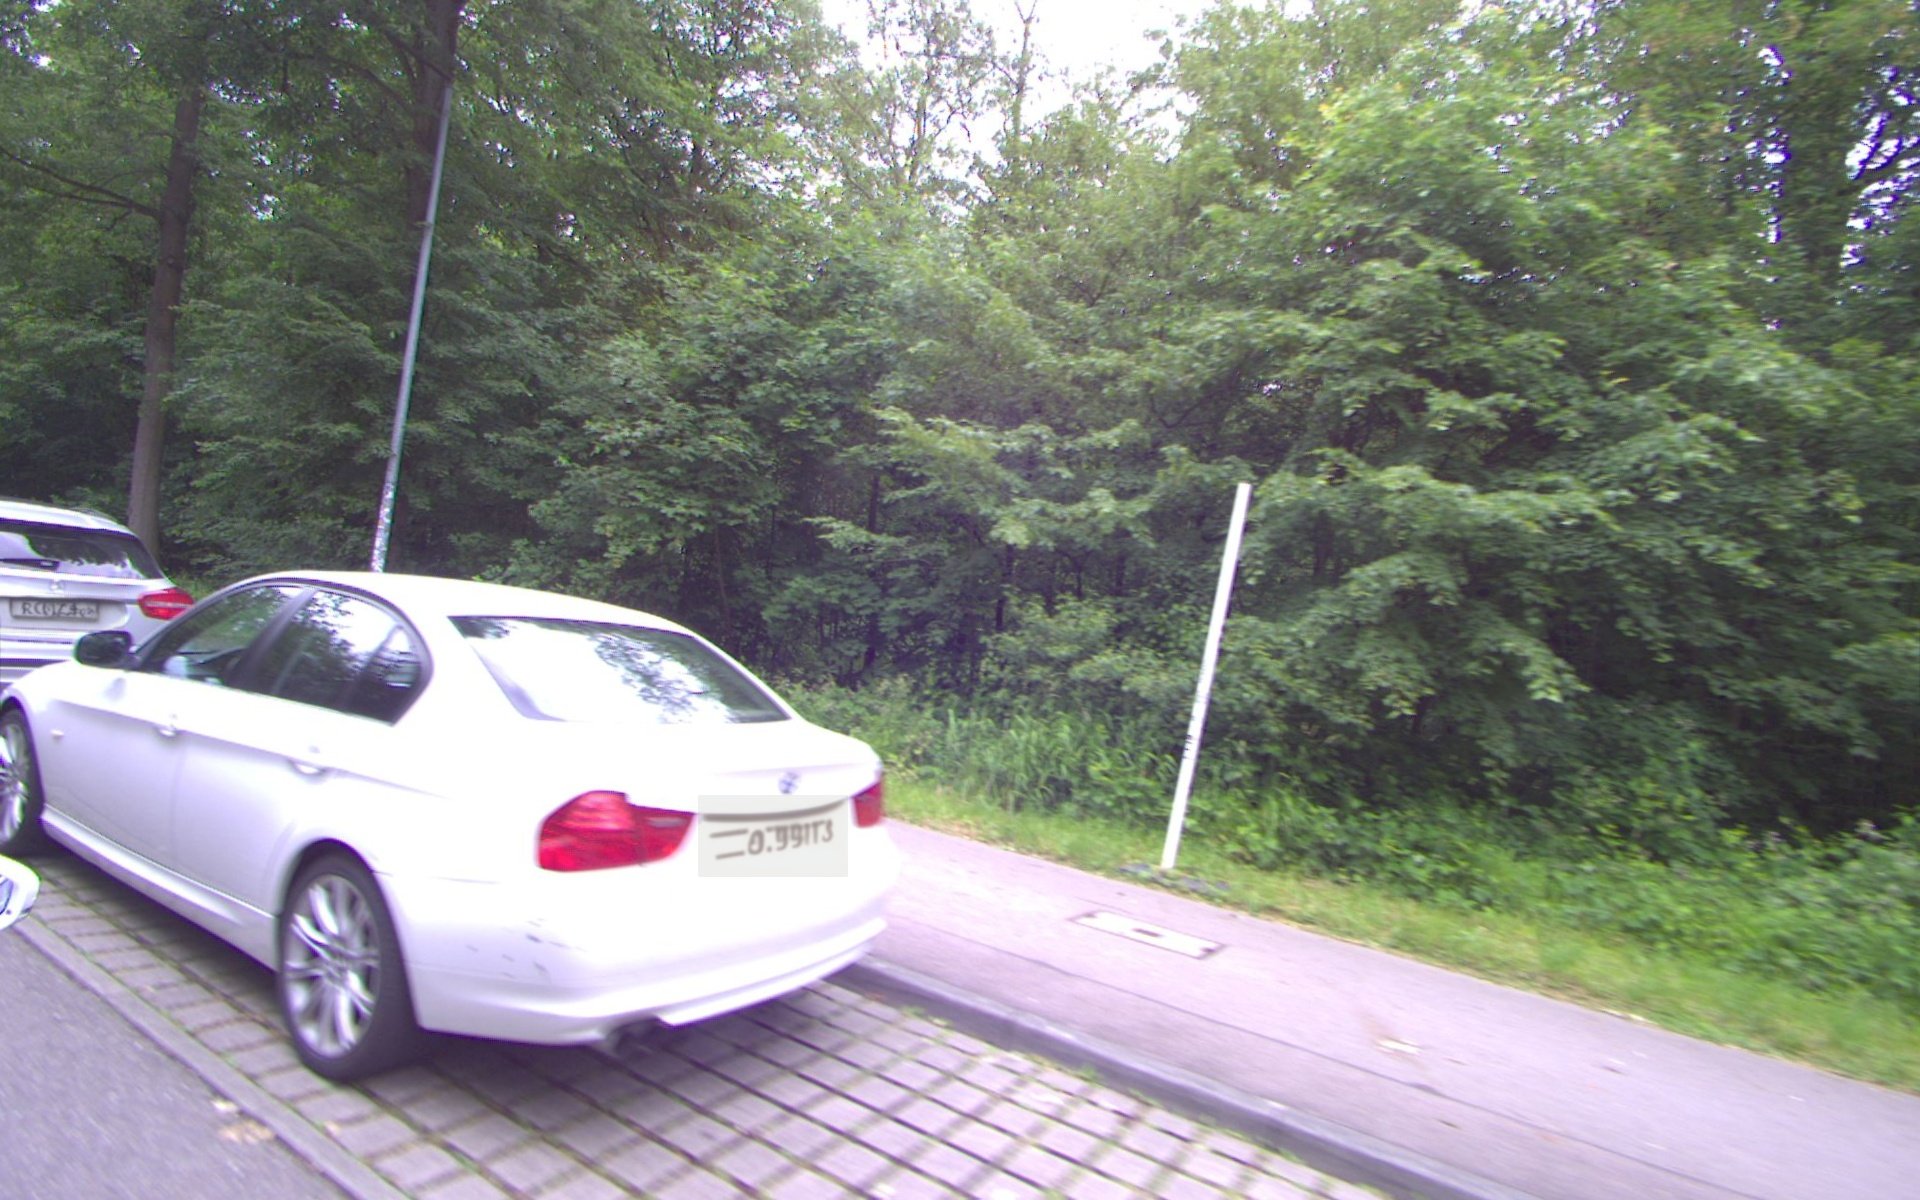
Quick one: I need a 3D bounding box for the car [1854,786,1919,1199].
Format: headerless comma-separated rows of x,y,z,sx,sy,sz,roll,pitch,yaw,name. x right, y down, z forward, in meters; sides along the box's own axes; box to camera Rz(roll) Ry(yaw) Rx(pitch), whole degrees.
3.606,1.292,0.314,4.664,1.451,1.741,7,-2,29,car

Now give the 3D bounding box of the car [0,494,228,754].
-7.382,-0.066,7.252,4.692,1.496,1.739,7,-2,33,car

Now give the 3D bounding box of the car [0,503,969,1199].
-2.337,0.560,4.188,4.354,1.423,1.740,7,-2,32,car
